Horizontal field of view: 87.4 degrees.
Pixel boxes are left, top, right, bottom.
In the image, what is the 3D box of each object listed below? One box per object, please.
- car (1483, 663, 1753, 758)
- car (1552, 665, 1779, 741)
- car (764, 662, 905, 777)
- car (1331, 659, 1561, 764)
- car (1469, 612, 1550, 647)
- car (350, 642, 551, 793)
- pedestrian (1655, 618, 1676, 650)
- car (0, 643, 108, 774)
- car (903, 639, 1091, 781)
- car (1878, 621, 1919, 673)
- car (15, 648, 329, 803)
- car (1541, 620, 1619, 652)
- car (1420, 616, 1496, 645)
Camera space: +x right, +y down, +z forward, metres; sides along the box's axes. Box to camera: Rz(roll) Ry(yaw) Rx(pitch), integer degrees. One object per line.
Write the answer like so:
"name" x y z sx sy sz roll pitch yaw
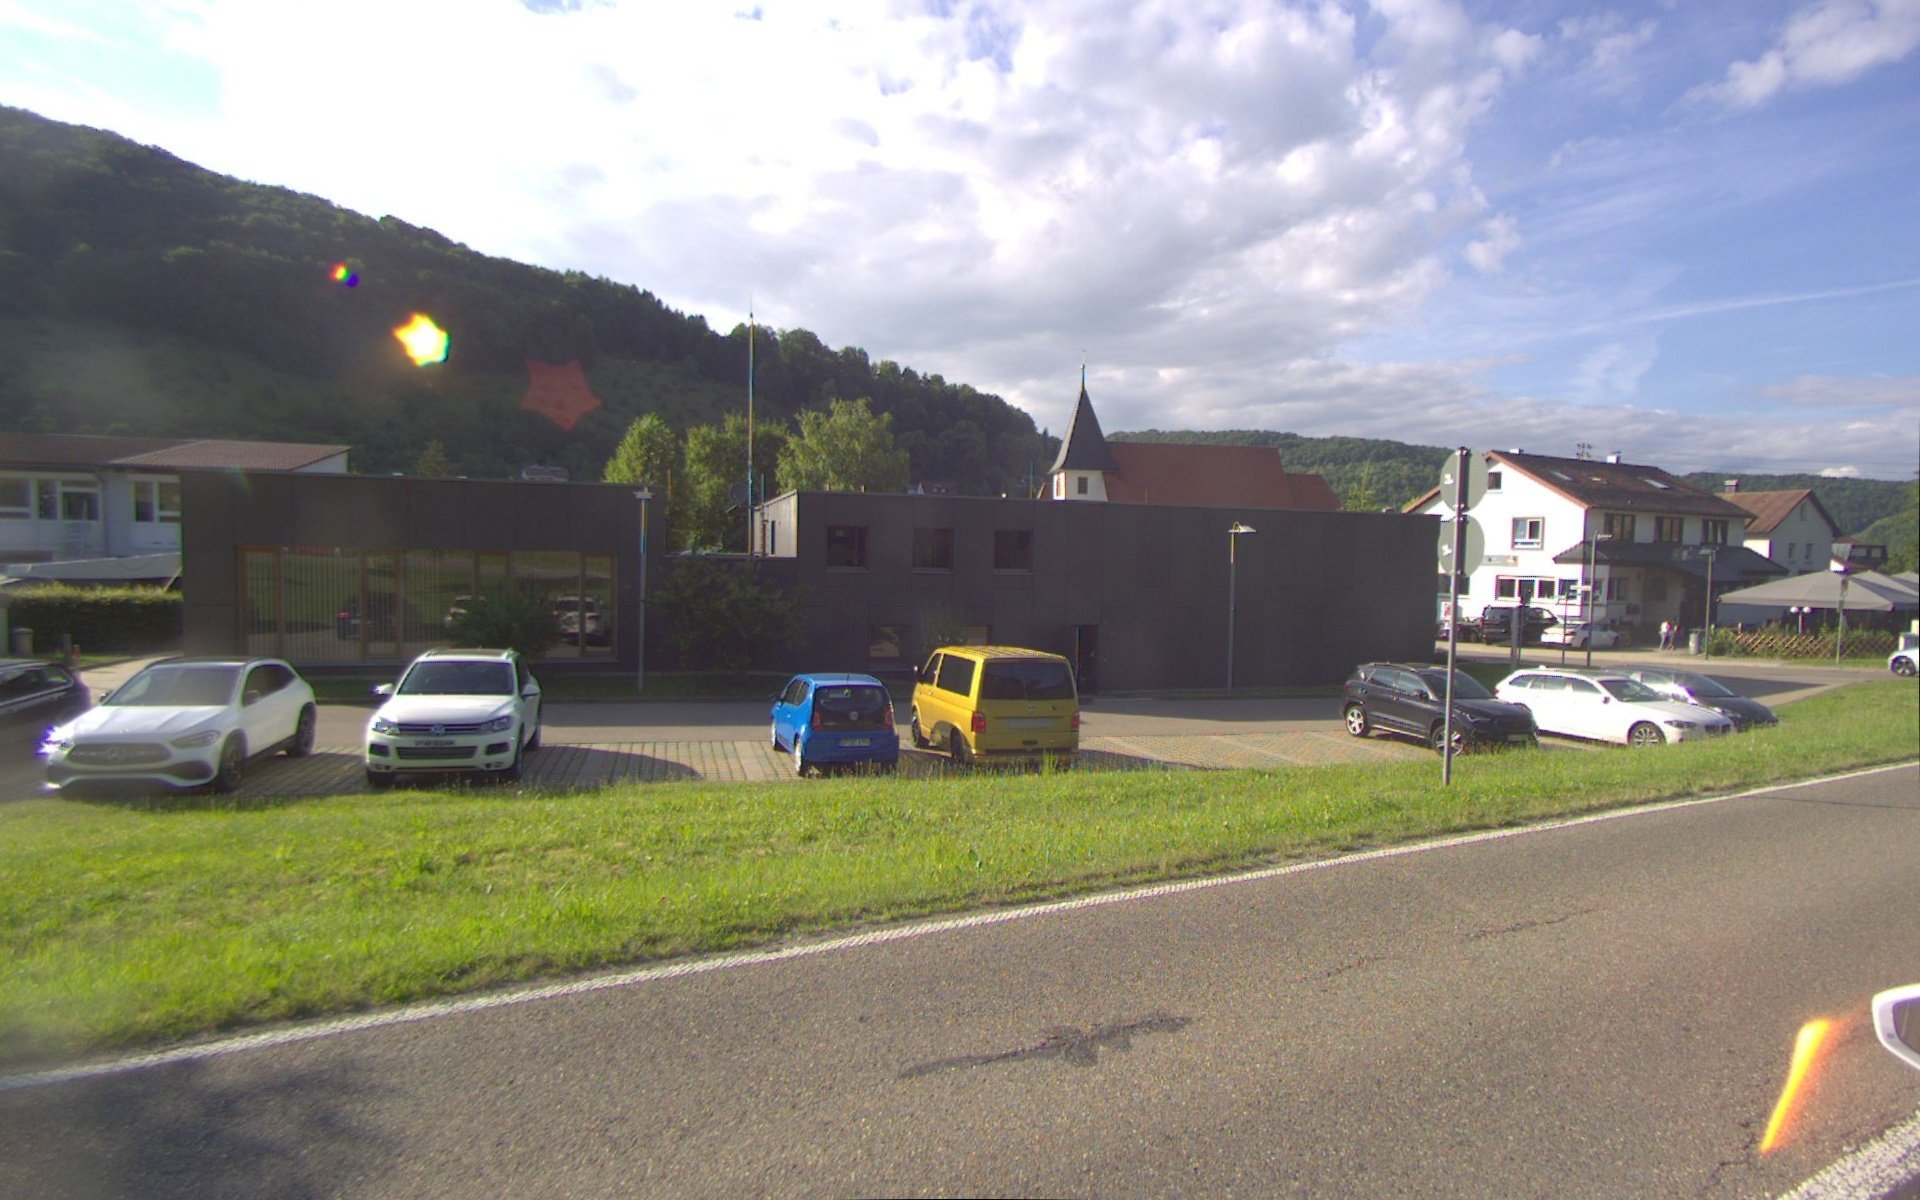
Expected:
"car" 13.984 2.284 21.760 1.851 1.513 4.810 2 0 -18
"car" 16.145 2.299 23.224 1.735 1.327 3.979 2 0 -22
"car" -2.214 1.914 16.919 1.608 1.491 3.489 2 0 -20
"car" 9.736 2.172 20.504 1.968 1.659 4.022 2 0 -18
"car" 28.141 1.514 51.409 3.954 1.684 1.878 2 0 -31
"car" -7.537 1.630 15.340 1.968 1.725 4.536 2 0 -18
"pedestrian" 34.065 1.651 48.513 0.583 1.523 0.605 2 0 -30
"car" -13.579 1.455 13.209 1.968 1.575 4.536 2 0 -18
"car" 0.447 1.737 17.245 1.966 1.892 4.612 2 0 -14
"car" 31.612 1.535 31.275 1.776 1.661 4.461 2 0 -3
"car" -10.738 1.602 14.179 1.968 1.575 4.536 2 0 -18
"car" 30.251 1.758 48.969 3.954 1.469 1.548 2 0 -31
"car" 26.711 1.637 53.857 3.955 1.372 1.832 2 0 -31
